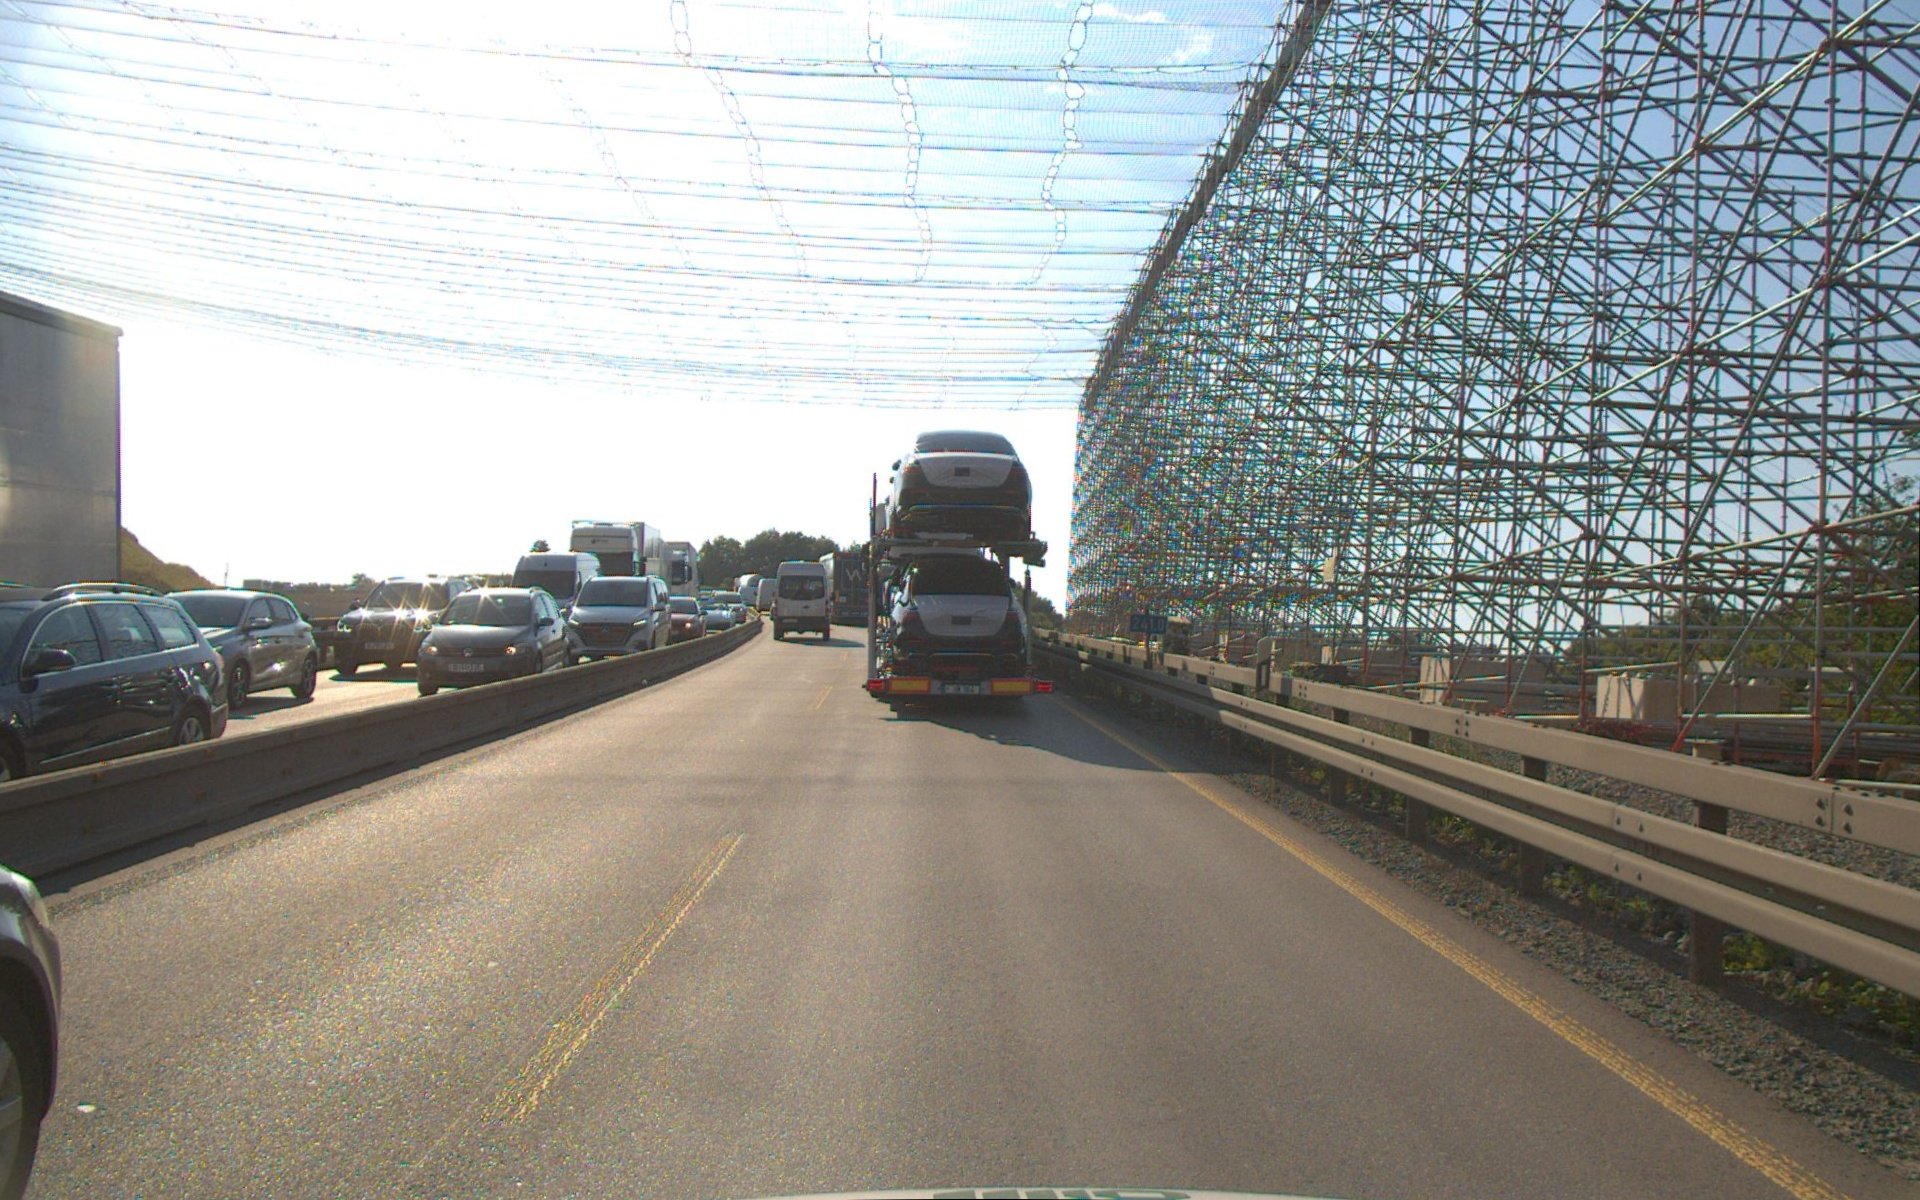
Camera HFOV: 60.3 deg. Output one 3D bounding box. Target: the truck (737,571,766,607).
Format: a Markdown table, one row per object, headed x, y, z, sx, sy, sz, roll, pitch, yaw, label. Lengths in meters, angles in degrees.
| x | y | z | sx | sy | sz | roll | pitch | yaw | label |
| --- | --- | --- | --- | --- | --- | --- | --- | --- | --- |
| -23.325 | -1.199 | 184.780 | 2.569 | 3.788 | 9.633 | 2 | 0 | -11 | truck |

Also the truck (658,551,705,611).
| x | y | z | sx | sy | sz | roll | pitch | yaw | label |
| --- | --- | --- | --- | --- | --- | --- | --- | --- | --- |
| -17.613 | -1.145 | 105.146 | 2.546 | 3.534 | 12.369 | 2 | 0 | -8 | truck |

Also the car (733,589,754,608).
| x | y | z | sx | sy | sz | roll | pitch | yaw | label |
| --- | --- | --- | --- | --- | --- | --- | --- | --- | --- |
| -20.150 | -0.135 | 153.976 | 1.677 | 1.646 | 3.500 | 0 | -1 | -4 | car |

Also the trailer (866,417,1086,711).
| x | y | z | sx | sy | sz | roll | pitch | yaw | label |
| --- | --- | --- | --- | --- | --- | --- | --- | --- | --- |
| -0.214 | -0.399 | 28.922 | 2.812 | 3.790 | 14.936 | 0 | -1 | -3 | trailer |

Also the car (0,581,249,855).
| x | y | z | sx | sy | sz | roll | pitch | yaw | label |
| --- | --- | --- | --- | --- | --- | --- | --- | --- | --- |
| -6.416 | 0.667 | 10.765 | 1.706 | 1.570 | 4.404 | 2 | 0 | -1 | car |

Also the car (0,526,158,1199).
| x | y | z | sx | sy | sz | roll | pitch | yaw | label |
| --- | --- | --- | --- | --- | --- | --- | --- | --- | --- |
| -2.867 | 0.620 | 2.207 | 1.649 | 1.601 | 4.098 | 1 | 0 | -1 | car |

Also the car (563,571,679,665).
| x | y | z | sx | sy | sz | roll | pitch | yaw | label |
| --- | --- | --- | --- | --- | --- | --- | --- | --- | --- |
| -7.512 | 0.380 | 36.996 | 1.799 | 1.926 | 3.999 | 1 | 0 | -1 | car |

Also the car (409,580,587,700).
| x | y | z | sx | sy | sz | roll | pitch | yaw | label |
| --- | --- | --- | --- | --- | --- | --- | --- | --- | --- |
| -7.029 | 0.569 | 25.554 | 1.661 | 1.657 | 3.999 | 2 | 0 | -1 | car |

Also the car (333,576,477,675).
| x | y | z | sx | sy | sz | roll | pitch | yaw | label |
| --- | --- | --- | --- | --- | --- | --- | --- | --- | --- |
| -10.431 | 0.456 | 31.351 | 1.646 | 1.713 | 3.996 | 2 | 0 | -5 | car |

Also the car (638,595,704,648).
| x | y | z | sx | sy | sz | roll | pitch | yaw | label |
| --- | --- | --- | --- | --- | --- | --- | --- | --- | --- |
| -8.609 | 0.614 | 49.442 | 1.802 | 1.479 | 3.992 | 2 | 0 | -9 | car |

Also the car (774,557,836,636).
| x | y | z | sx | sy | sz | roll | pitch | yaw | label |
| --- | --- | --- | --- | --- | --- | --- | --- | --- | --- |
| -5.419 | -0.083 | 58.156 | 1.917 | 2.667 | 3.998 | 0 | -1 | -2 | car |

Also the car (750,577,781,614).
| x | y | z | sx | sy | sz | roll | pitch | yaw | label |
| --- | --- | --- | --- | --- | --- | --- | --- | --- | --- |
| -14.424 | -0.337 | 122.565 | 1.957 | 2.623 | 3.990 | 2 | 0 | -10 | car |

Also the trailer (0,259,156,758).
| x | y | z | sx | sy | sz | roll | pitch | yaw | label |
| --- | --- | --- | --- | --- | --- | --- | --- | --- | --- |
| -9.455 | -0.807 | 10.157 | 2.600 | 4.307 | 13.914 | 1 | 0 | -2 | trailer |

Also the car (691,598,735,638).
| x | y | z | sx | sy | sz | roll | pitch | yaw | label |
| --- | --- | --- | --- | --- | --- | --- | --- | --- | --- |
| -9.934 | 0.702 | 66.373 | 1.670 | 1.479 | 3.991 | 2 | 0 | -10 | car |

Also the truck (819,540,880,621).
| x | y | z | sx | sy | sz | roll | pitch | yaw | label |
| --- | --- | --- | --- | --- | --- | --- | --- | --- | --- |
| -6.635 | -1.096 | 97.935 | 2.681 | 4.462 | 11.500 | 1 | 0 | -8 | truck |

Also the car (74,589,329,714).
| x | y | z | sx | sy | sz | roll | pitch | yaw | label |
| --- | --- | --- | --- | --- | --- | --- | --- | --- | --- |
| -9.911 | 0.621 | 21.939 | 1.632 | 1.466 | 3.850 | 2 | 0 | -1 | car |

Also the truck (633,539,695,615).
| x | y | z | sx | sy | sz | roll | pitch | yaw | label |
| --- | --- | --- | --- | --- | --- | --- | --- | --- | --- |
| -14.938 | -1.119 | 84.243 | 2.546 | 3.534 | 12.369 | 2 | 0 | -8 | truck |

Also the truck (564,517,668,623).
| x | y | z | sx | sy | sz | roll | pitch | yaw | label |
| --- | --- | --- | --- | --- | --- | --- | --- | --- | --- |
| -12.765 | -1.039 | 62.274 | 2.545 | 3.534 | 12.375 | 1 | 0 | -6 | truck |

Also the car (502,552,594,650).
| x | y | z | sx | sy | sz | roll | pitch | yaw | label |
| --- | --- | --- | --- | --- | --- | --- | --- | --- | --- |
| -11.528 | 0.029 | 46.545 | 1.956 | 2.586 | 3.994 | 2 | 0 | -7 | car |

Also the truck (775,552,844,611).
| x | y | z | sx | sy | sz | roll | pitch | yaw | label |
| --- | --- | --- | --- | --- | --- | --- | --- | --- | --- |
| -12.124 | -1.351 | 131.757 | 3.623 | 4.294 | 13.624 | -3 | 0 | -12 | truck |

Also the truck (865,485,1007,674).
| x | y | z | sx | sy | sz | roll | pitch | yaw | label |
| --- | --- | --- | --- | --- | --- | --- | --- | --- | --- |
| -0.683 | -0.371 | 36.762 | 2.824 | 3.767 | 7.320 | 0 | -1 | -3 | truck |

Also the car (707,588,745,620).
| x | y | z | sx | sy | sz | roll | pitch | yaw | label |
| --- | --- | --- | --- | --- | --- | --- | --- | --- | --- |
| -11.394 | 0.192 | 80.375 | 1.670 | 1.479 | 3.991 | 2 | 0 | -10 | car |
